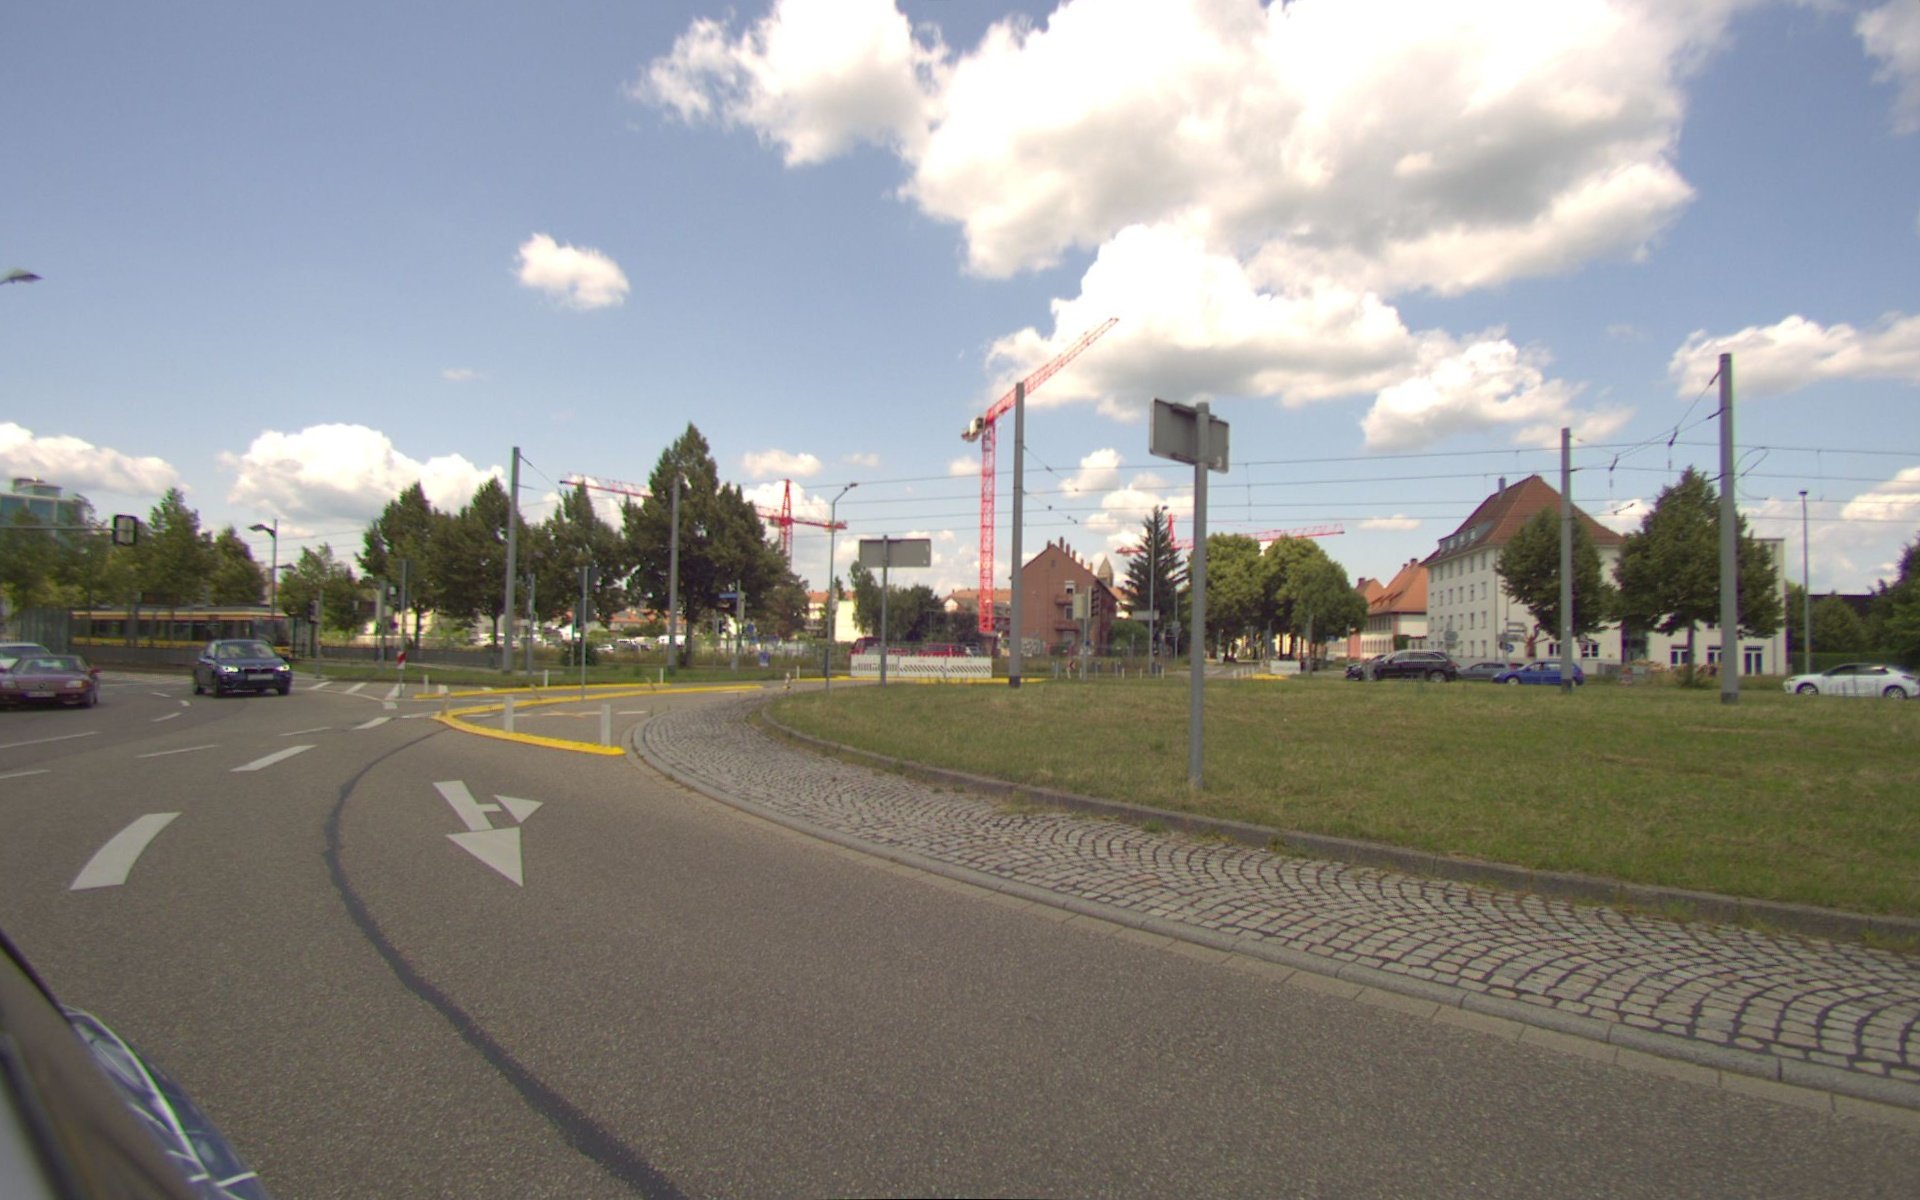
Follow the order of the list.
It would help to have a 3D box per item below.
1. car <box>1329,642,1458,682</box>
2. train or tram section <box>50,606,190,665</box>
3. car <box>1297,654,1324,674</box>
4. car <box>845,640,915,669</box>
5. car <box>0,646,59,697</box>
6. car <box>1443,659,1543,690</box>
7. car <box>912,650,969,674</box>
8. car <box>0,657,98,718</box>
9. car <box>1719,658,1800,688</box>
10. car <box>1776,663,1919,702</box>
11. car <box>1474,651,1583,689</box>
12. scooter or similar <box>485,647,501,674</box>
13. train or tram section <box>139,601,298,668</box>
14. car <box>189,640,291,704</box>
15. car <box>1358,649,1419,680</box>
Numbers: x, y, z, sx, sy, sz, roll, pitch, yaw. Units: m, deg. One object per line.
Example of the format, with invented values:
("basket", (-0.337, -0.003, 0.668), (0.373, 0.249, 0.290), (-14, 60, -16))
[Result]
("car", (19.295, 2.763, 45.288), (5.022, 1.687, 1.991), (0, -3, 14))
("train or tram section", (-57.254, 2.434, 68.785), (14.612, 3.666, 2.666), (-1, -3, 32))
("car", (35.536, 6.472, 102.646), (1.990, 2.029, 4.682), (-1, -3, 27))
("car", (-6.375, 4.263, 79.400), (2.355, 2.214, 6.855), (2, -4, -35))
("car", (-32.347, 2.393, 34.448), (4.119, 1.611, 1.655), (-1, -2, 36))
("car", (31.654, 4.397, 60.281), (2.030, 1.639, 4.959), (0, -3, -26))
("car", (-1.670, 5.138, 84.375), (2.054, 1.866, 5.193), (3, -4, -39))
("car", (-22.273, 2.071, 24.711), (1.650, 1.271, 4.096), (2, -3, -43))
("car", (56.860, 5.197, 72.023), (3.951, 2.029, 1.996), (0, -3, 6))
("car", (33.737, 3.068, 38.149), (1.969, 1.340, 4.317), (3, -4, -41))
("car", (28.741, 3.513, 51.289), (4.704, 1.805, 1.831), (-1, -3, 29))
("scooter or similar", (-24.540, 3.170, 53.178), (0.412, 1.312, 1.348), (3, -1, -38))
("train or tram section", (-45.224, 2.111, 61.509), (13.429, 3.768, 2.821), (-1, -3, 32))
("car", (-21.075, 2.033, 29.559), (4.129, 1.611, 1.750), (0, -1, 45))
("car", (29.880, 4.489, 70.795), (1.970, 2.029, 4.729), (1, -3, -3))
